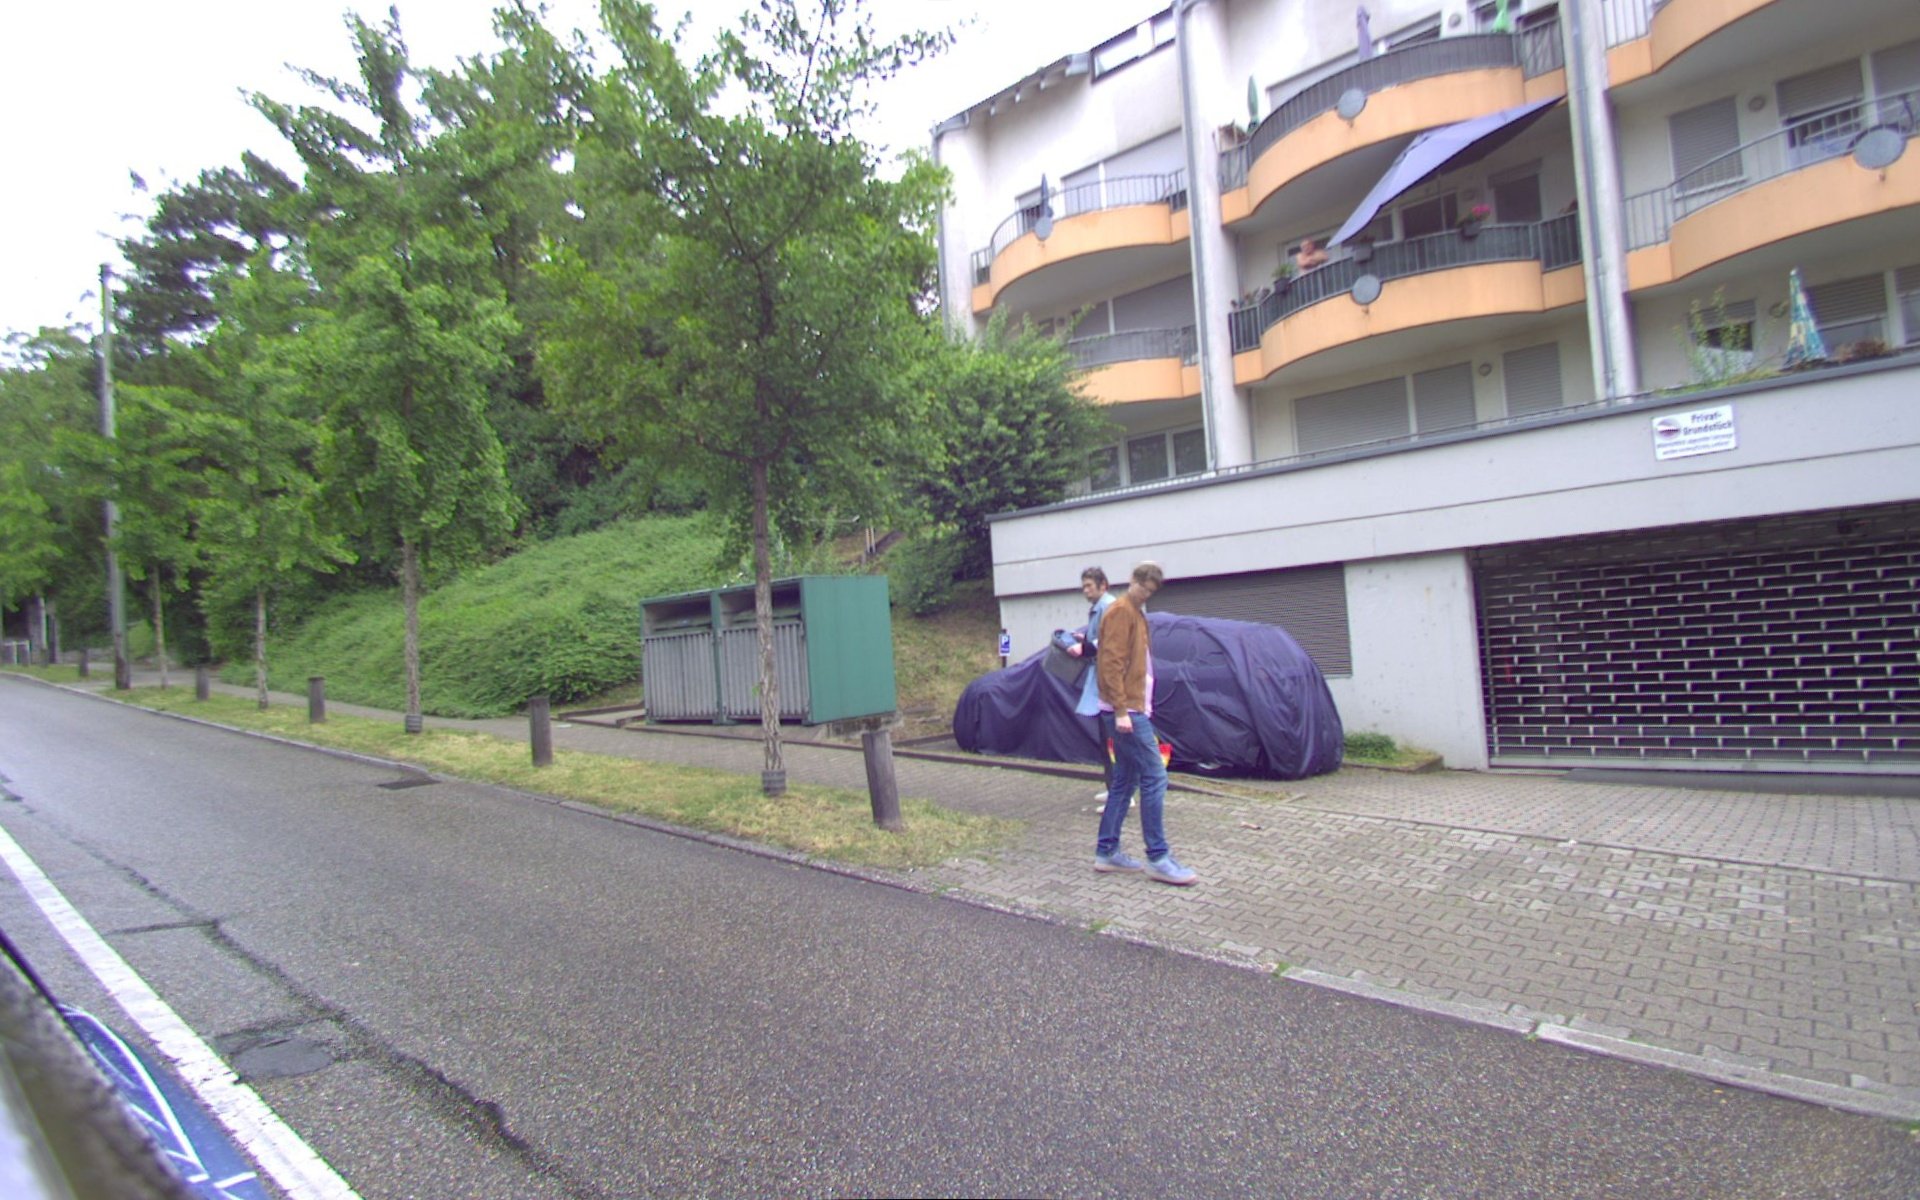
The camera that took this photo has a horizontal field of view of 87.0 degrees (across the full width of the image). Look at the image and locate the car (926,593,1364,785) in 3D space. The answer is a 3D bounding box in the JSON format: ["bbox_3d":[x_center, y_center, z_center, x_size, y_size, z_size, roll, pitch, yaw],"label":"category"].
[{"bbox_3d":[1.751,0.826,10.347,4.096,1.573,1.759,-2,-5,41],"label":"car"}]

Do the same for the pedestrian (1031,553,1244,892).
[{"bbox_3d":[0.997,0.656,5.829,1.061,1.795,0.823,-2,1,8],"label":"pedestrian"}]

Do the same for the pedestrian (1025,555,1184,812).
[{"bbox_3d":[1.053,0.591,7.591,1.060,1.795,0.823,-2,1,5],"label":"pedestrian"}]
